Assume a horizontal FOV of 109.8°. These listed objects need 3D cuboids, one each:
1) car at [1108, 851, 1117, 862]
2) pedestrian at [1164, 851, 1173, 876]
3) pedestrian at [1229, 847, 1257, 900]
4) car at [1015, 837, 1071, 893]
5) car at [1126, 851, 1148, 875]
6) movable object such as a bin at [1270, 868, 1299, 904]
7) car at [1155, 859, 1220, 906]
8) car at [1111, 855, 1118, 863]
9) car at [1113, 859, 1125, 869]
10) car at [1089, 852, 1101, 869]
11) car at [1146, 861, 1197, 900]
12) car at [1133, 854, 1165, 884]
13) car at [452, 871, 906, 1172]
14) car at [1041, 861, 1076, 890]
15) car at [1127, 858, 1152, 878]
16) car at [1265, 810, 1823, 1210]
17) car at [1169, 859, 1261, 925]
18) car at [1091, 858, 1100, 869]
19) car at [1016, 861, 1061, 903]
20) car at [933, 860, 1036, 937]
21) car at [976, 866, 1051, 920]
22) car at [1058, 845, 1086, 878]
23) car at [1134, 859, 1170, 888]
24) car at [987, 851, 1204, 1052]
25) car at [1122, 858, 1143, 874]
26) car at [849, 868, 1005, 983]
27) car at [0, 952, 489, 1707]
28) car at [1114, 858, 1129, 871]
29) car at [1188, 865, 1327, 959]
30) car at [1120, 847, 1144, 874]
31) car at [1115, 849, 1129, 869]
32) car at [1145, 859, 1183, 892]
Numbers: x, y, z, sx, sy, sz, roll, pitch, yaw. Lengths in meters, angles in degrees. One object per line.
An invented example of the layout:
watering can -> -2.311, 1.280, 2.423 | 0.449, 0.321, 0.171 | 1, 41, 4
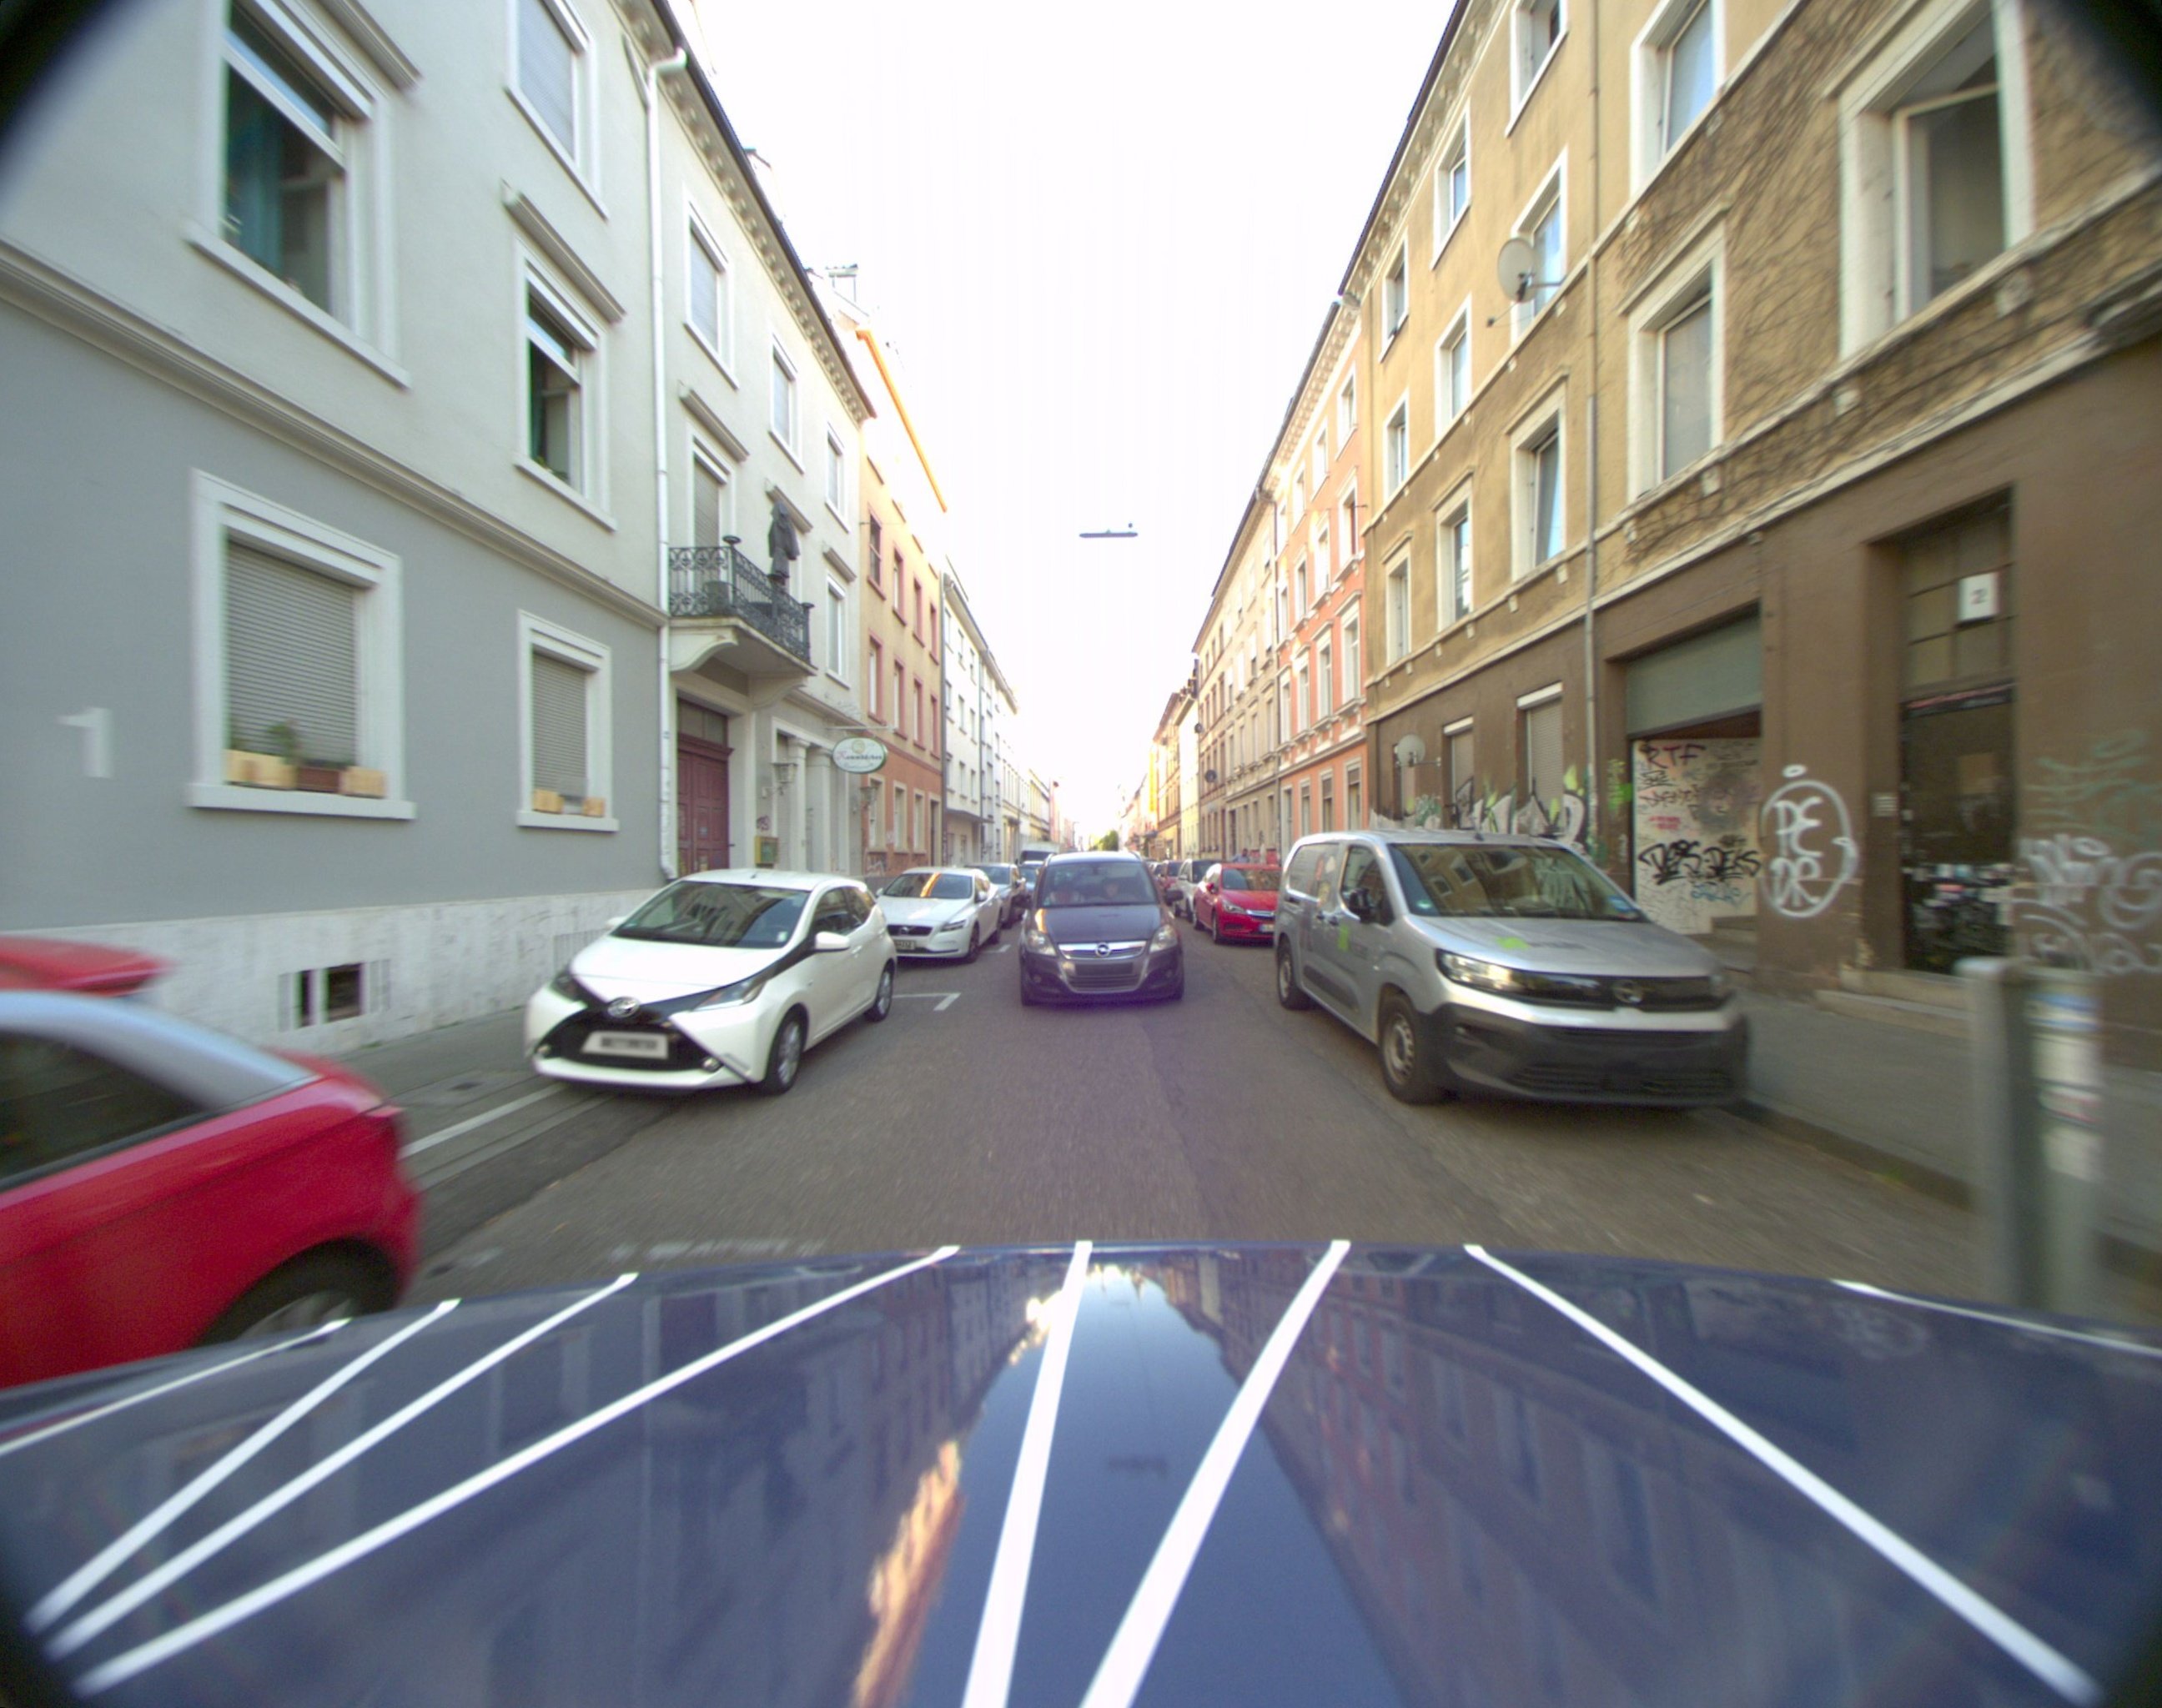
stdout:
car -> 9.358, 0.757, 225.514 | 2.564, 3.029, 7.062 | -2, 0, 1
pedestrian -> 6.662, 0.718, 57.914 | 0.626, 1.820, 0.594 | -2, 0, 3
pedestrian -> 5.718, 0.692, 26.867 | 0.790, 1.820, 0.594 | -2, 0, 2
car -> -1.794, 0.532, 38.147 | 2.049, 2.498, 6.025 | -2, 0, 4
car -> 4.651, 0.722, 63.654 | 1.751, 1.880, 4.772 | -1, 0, 4
movable object such as a bin -> 6.309, 0.980, 23.592 | 0.779, 1.043, 0.662 | -3, 0, 10
car -> 3.599, 0.937, 26.229 | 1.683, 1.483, 3.612 | -1, 0, -1
car -> 8.509, 1.279, 195.429 | 1.683, 1.851, 4.159 | -2, 0, 1
car -> 5.557, 1.428, 111.299 | 1.683, 1.381, 3.860 | -1, 0, 2
car -> 2.972, 1.429, 160.329 | 2.436, 3.404, 5.544 | -2, 0, 1
car -> 3.616, 1.020, 31.058 | 1.683, 1.454, 4.313 | -1, 0, 2
car -> 4.118, 0.882, 46.205 | 1.683, 1.674, 3.860 | -1, 0, 2
car -> -2.723, 0.997, 6.222 | 1.640, 1.577, 3.788 | -2, 0, 0
car -> -1.238, 1.185, 43.167 | 1.683, 1.434, 3.860 | -2, 0, 2
car -> 4.374, 1.004, 56.940 | 1.683, 1.407, 3.860 | -1, 0, 2
car -> 2.808, 0.769, 5.987 | 1.683, 1.899, 4.520 | 2, 0, 2
car -> 3.303, 0.902, 19.209 | 1.684, 1.540, 2.959 | 0, 0, -2
car -> 2.928, 1.904, 153.384 | 1.683, 2.077, 4.159 | -2, 0, 1
car -> -1.696, 1.090, 31.430 | 1.683, 1.550, 3.859 | -2, 0, -1
car -> -2.231, 0.997, 18.725 | 1.683, 1.588, 4.191 | -2, 0, 4
car -> -1.956, 1.111, 23.327 | 1.771, 1.386, 4.495 | -2, 0, 1
car -> -0.698, 0.622, 64.610 | 2.050, 2.662, 6.186 | -2, 0, 2
car -> 3.828, 1.008, 41.304 | 1.683, 1.454, 3.860 | -1, 0, 2
car -> 0.169, 0.849, 9.120 | 1.798, 1.652, 5.184 | -2, 0, 1
car -> 4.659, 1.094, 68.935 | 1.683, 1.381, 3.860 | -1, 0, 2
car -> -2.387, 1.047, 12.851 | 1.683, 1.501, 4.190 | -2, 0, 1
car -> -2.759, 1.084, 0.460 | 1.649, 1.494, 3.955 | -2, 0, 0
car -> 4.715, 1.229, 89.316 | 1.683, 1.381, 3.860 | -1, 0, 2
car -> 3.188, 0.982, 14.581 | 1.683, 1.465, 4.203 | 1, 0, 0
car -> 4.976, 0.636, 74.973 | 2.094, 2.576, 5.843 | -1, 0, 1
car -> 5.136, 0.627, 96.291 | 1.683, 2.352, 4.099 | -1, 0, 2
car -> 3.930, 0.973, 36.033 | 1.682, 1.454, 3.862 | -1, 0, 6
